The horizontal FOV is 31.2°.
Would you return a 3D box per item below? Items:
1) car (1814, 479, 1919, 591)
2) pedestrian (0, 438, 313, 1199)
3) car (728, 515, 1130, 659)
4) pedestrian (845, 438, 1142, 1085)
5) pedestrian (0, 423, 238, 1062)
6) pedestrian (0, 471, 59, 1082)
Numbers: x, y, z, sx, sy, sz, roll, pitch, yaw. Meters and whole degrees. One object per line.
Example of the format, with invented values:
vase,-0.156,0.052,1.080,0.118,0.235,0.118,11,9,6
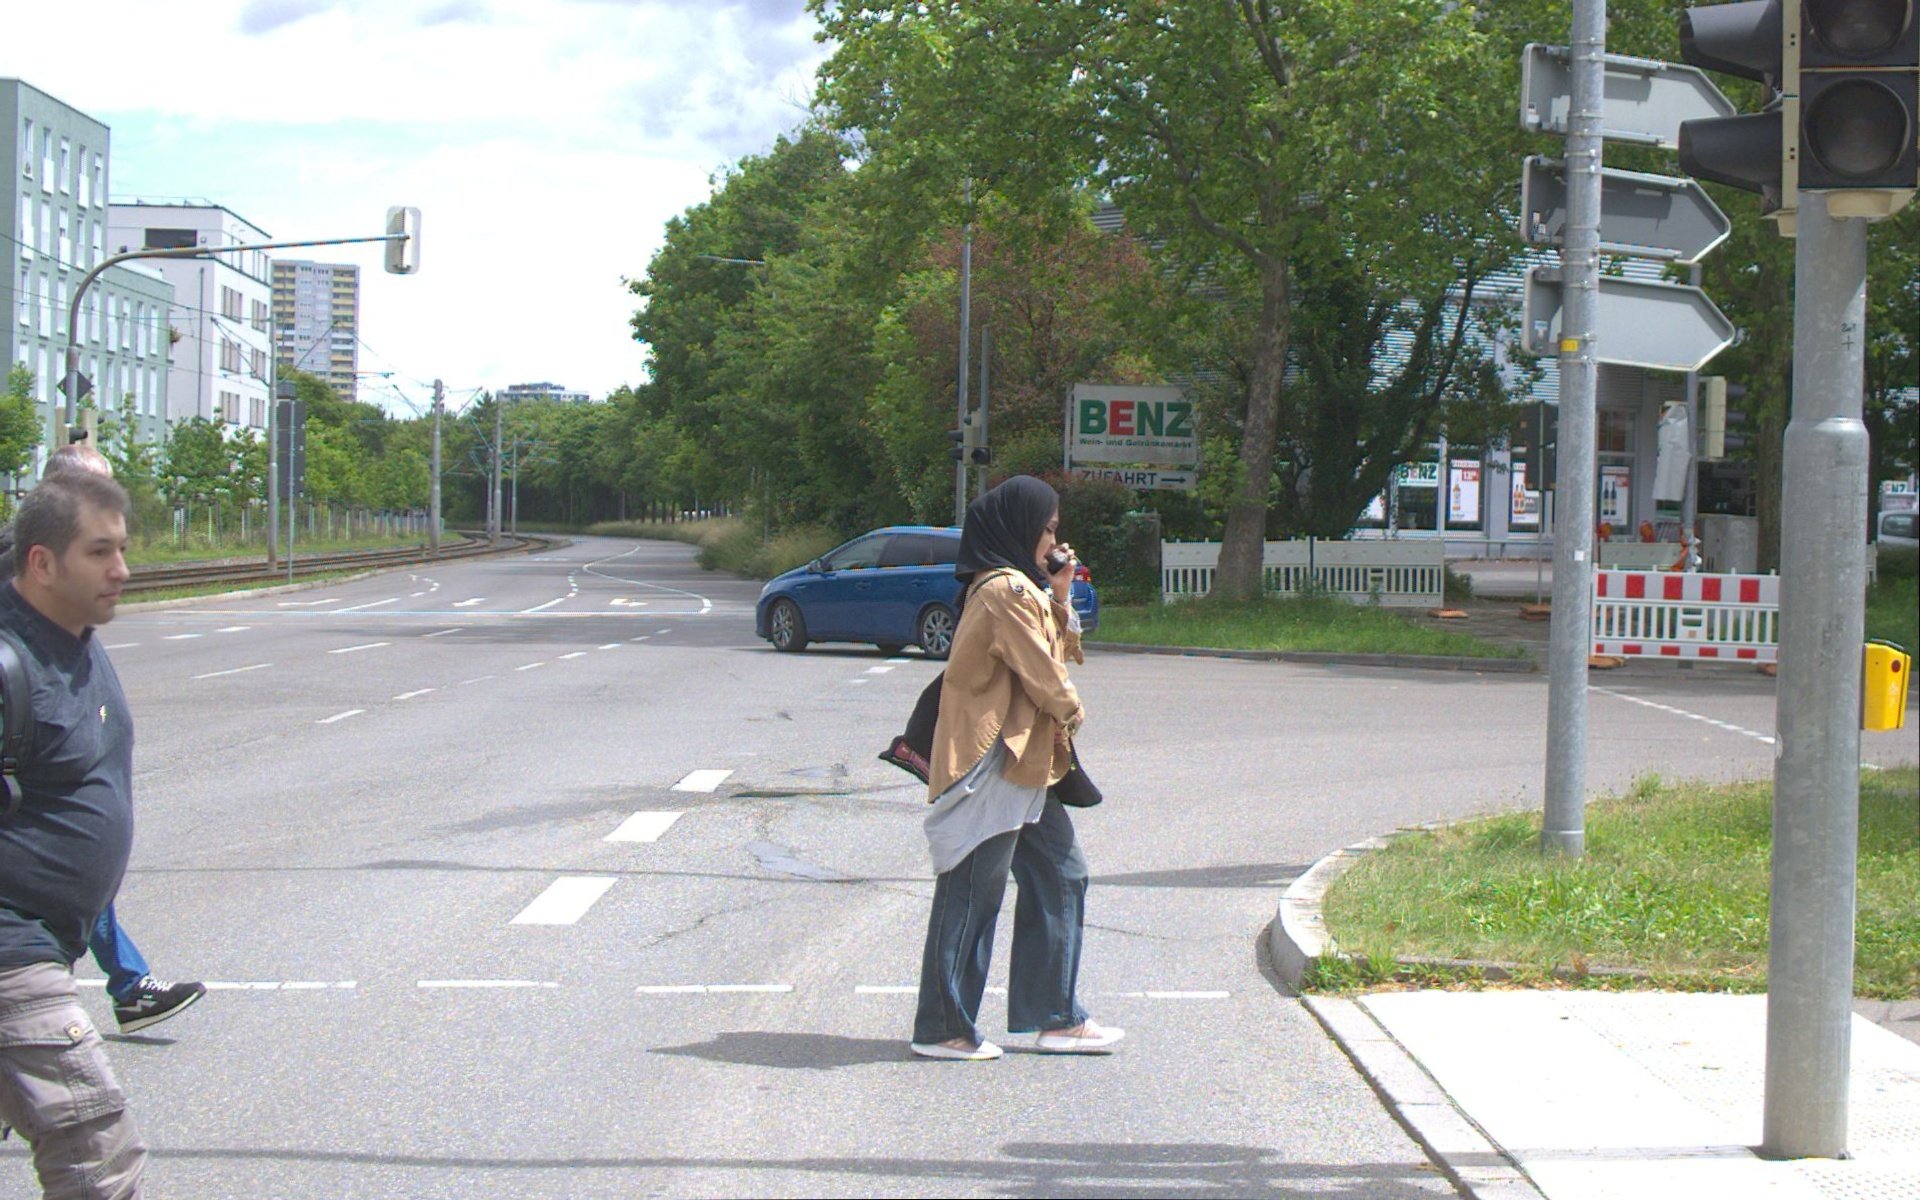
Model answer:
car,17.742,-1.185,62.561,1.993,2.007,4.000,0,2,-32
pedestrian,-1.615,0.568,5.552,0.958,1.642,0.880,1,1,1
car,-0.406,-0.184,38.504,1.983,1.481,4.489,-1,2,-43
pedestrian,0.090,0.427,9.673,0.782,1.737,0.828,1,1,0
pedestrian,-2.693,0.382,9.976,1.002,1.767,0.929,1,1,-1
pedestrian,-2.964,0.459,9.026,0.912,1.601,0.929,1,1,3
